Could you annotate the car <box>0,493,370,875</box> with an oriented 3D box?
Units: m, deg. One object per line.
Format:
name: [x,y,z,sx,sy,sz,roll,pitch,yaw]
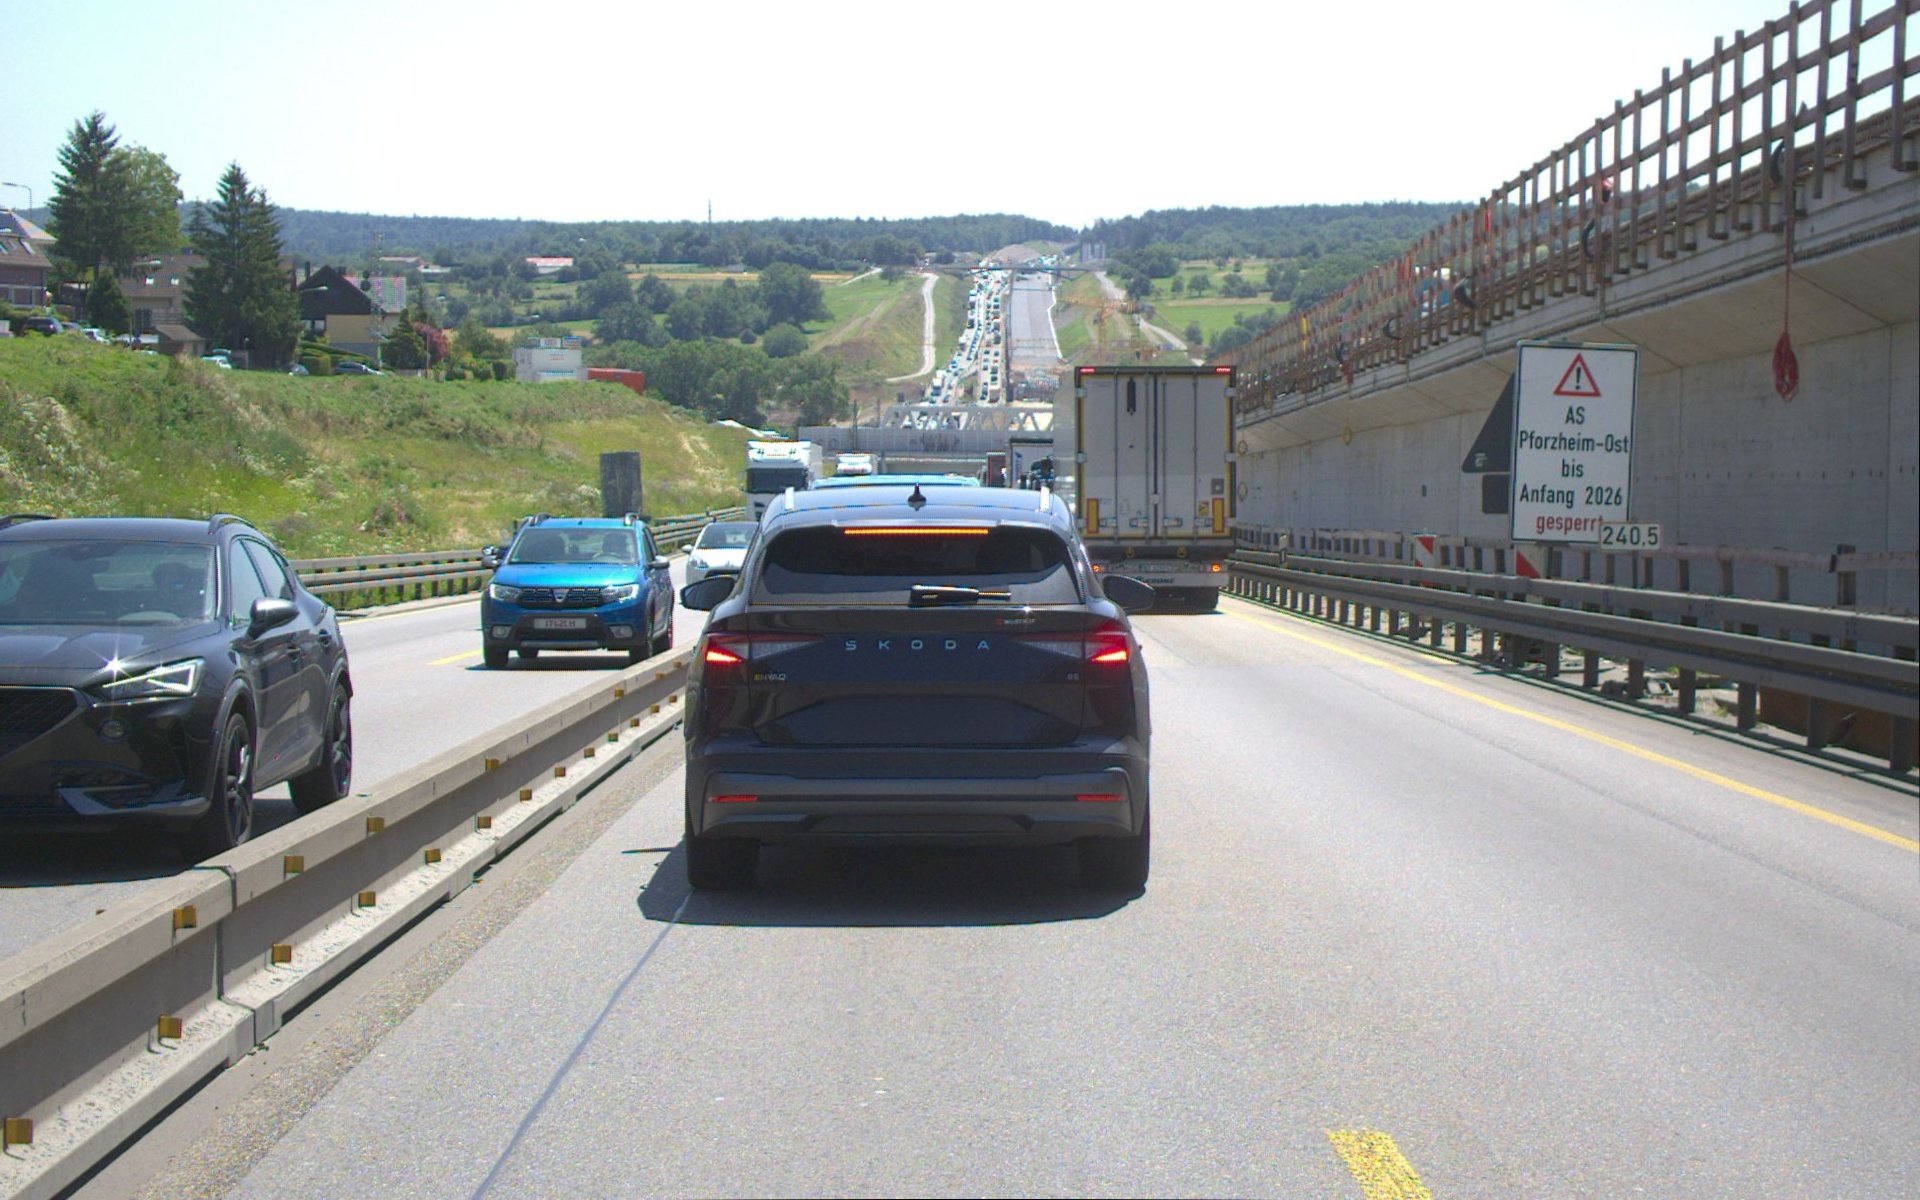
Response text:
car: [-4.006,0.307,15.916,1.842,1.525,4.294,0,1,-1]

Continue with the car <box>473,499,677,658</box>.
car: [-4.047,-0.265,36.673,1.763,1.604,3.892,0,1,0]

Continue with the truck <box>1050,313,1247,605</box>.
truck: [3.164,-2.311,60.793,2.846,4.599,11.811,1,1,0]

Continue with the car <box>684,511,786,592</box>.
car: [-4.206,-0.928,64.722,1.766,1.481,3.866,0,1,-2]

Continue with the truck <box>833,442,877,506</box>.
truck: [-7.250,-8.650,237.586,2.753,4.213,8.099,0,1,0]

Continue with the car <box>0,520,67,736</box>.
car: [-7.305,0.166,22.234,1.813,1.443,5.007,2,1,-1]

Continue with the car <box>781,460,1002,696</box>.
car: [-0.645,-0.222,30.451,1.749,1.888,3.756,3,1,-2]

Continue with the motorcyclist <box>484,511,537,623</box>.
motorcyclist: [-6.371,-0.466,48.746,0.665,1.579,0.736,0,0,0]

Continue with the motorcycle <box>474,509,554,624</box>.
motorcycle: [-6.335,-0.500,48.900,0.790,1.546,2.621,1,2,0]

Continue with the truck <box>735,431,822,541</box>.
truck: [-7.319,-4.522,137.813,3.180,4.223,6.486,0,1,-5]

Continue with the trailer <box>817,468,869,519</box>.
trailer: [-6.305,-5.728,185.789,2.485,2.604,5.867,-1,0,1]

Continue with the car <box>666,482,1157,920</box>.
car: [-0.213,0.332,14.393,1.782,1.592,3.755,0,1,-1]

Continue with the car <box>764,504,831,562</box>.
car: [-4.232,-1.751,89.956,1.691,1.481,3.750,0,1,-2]
